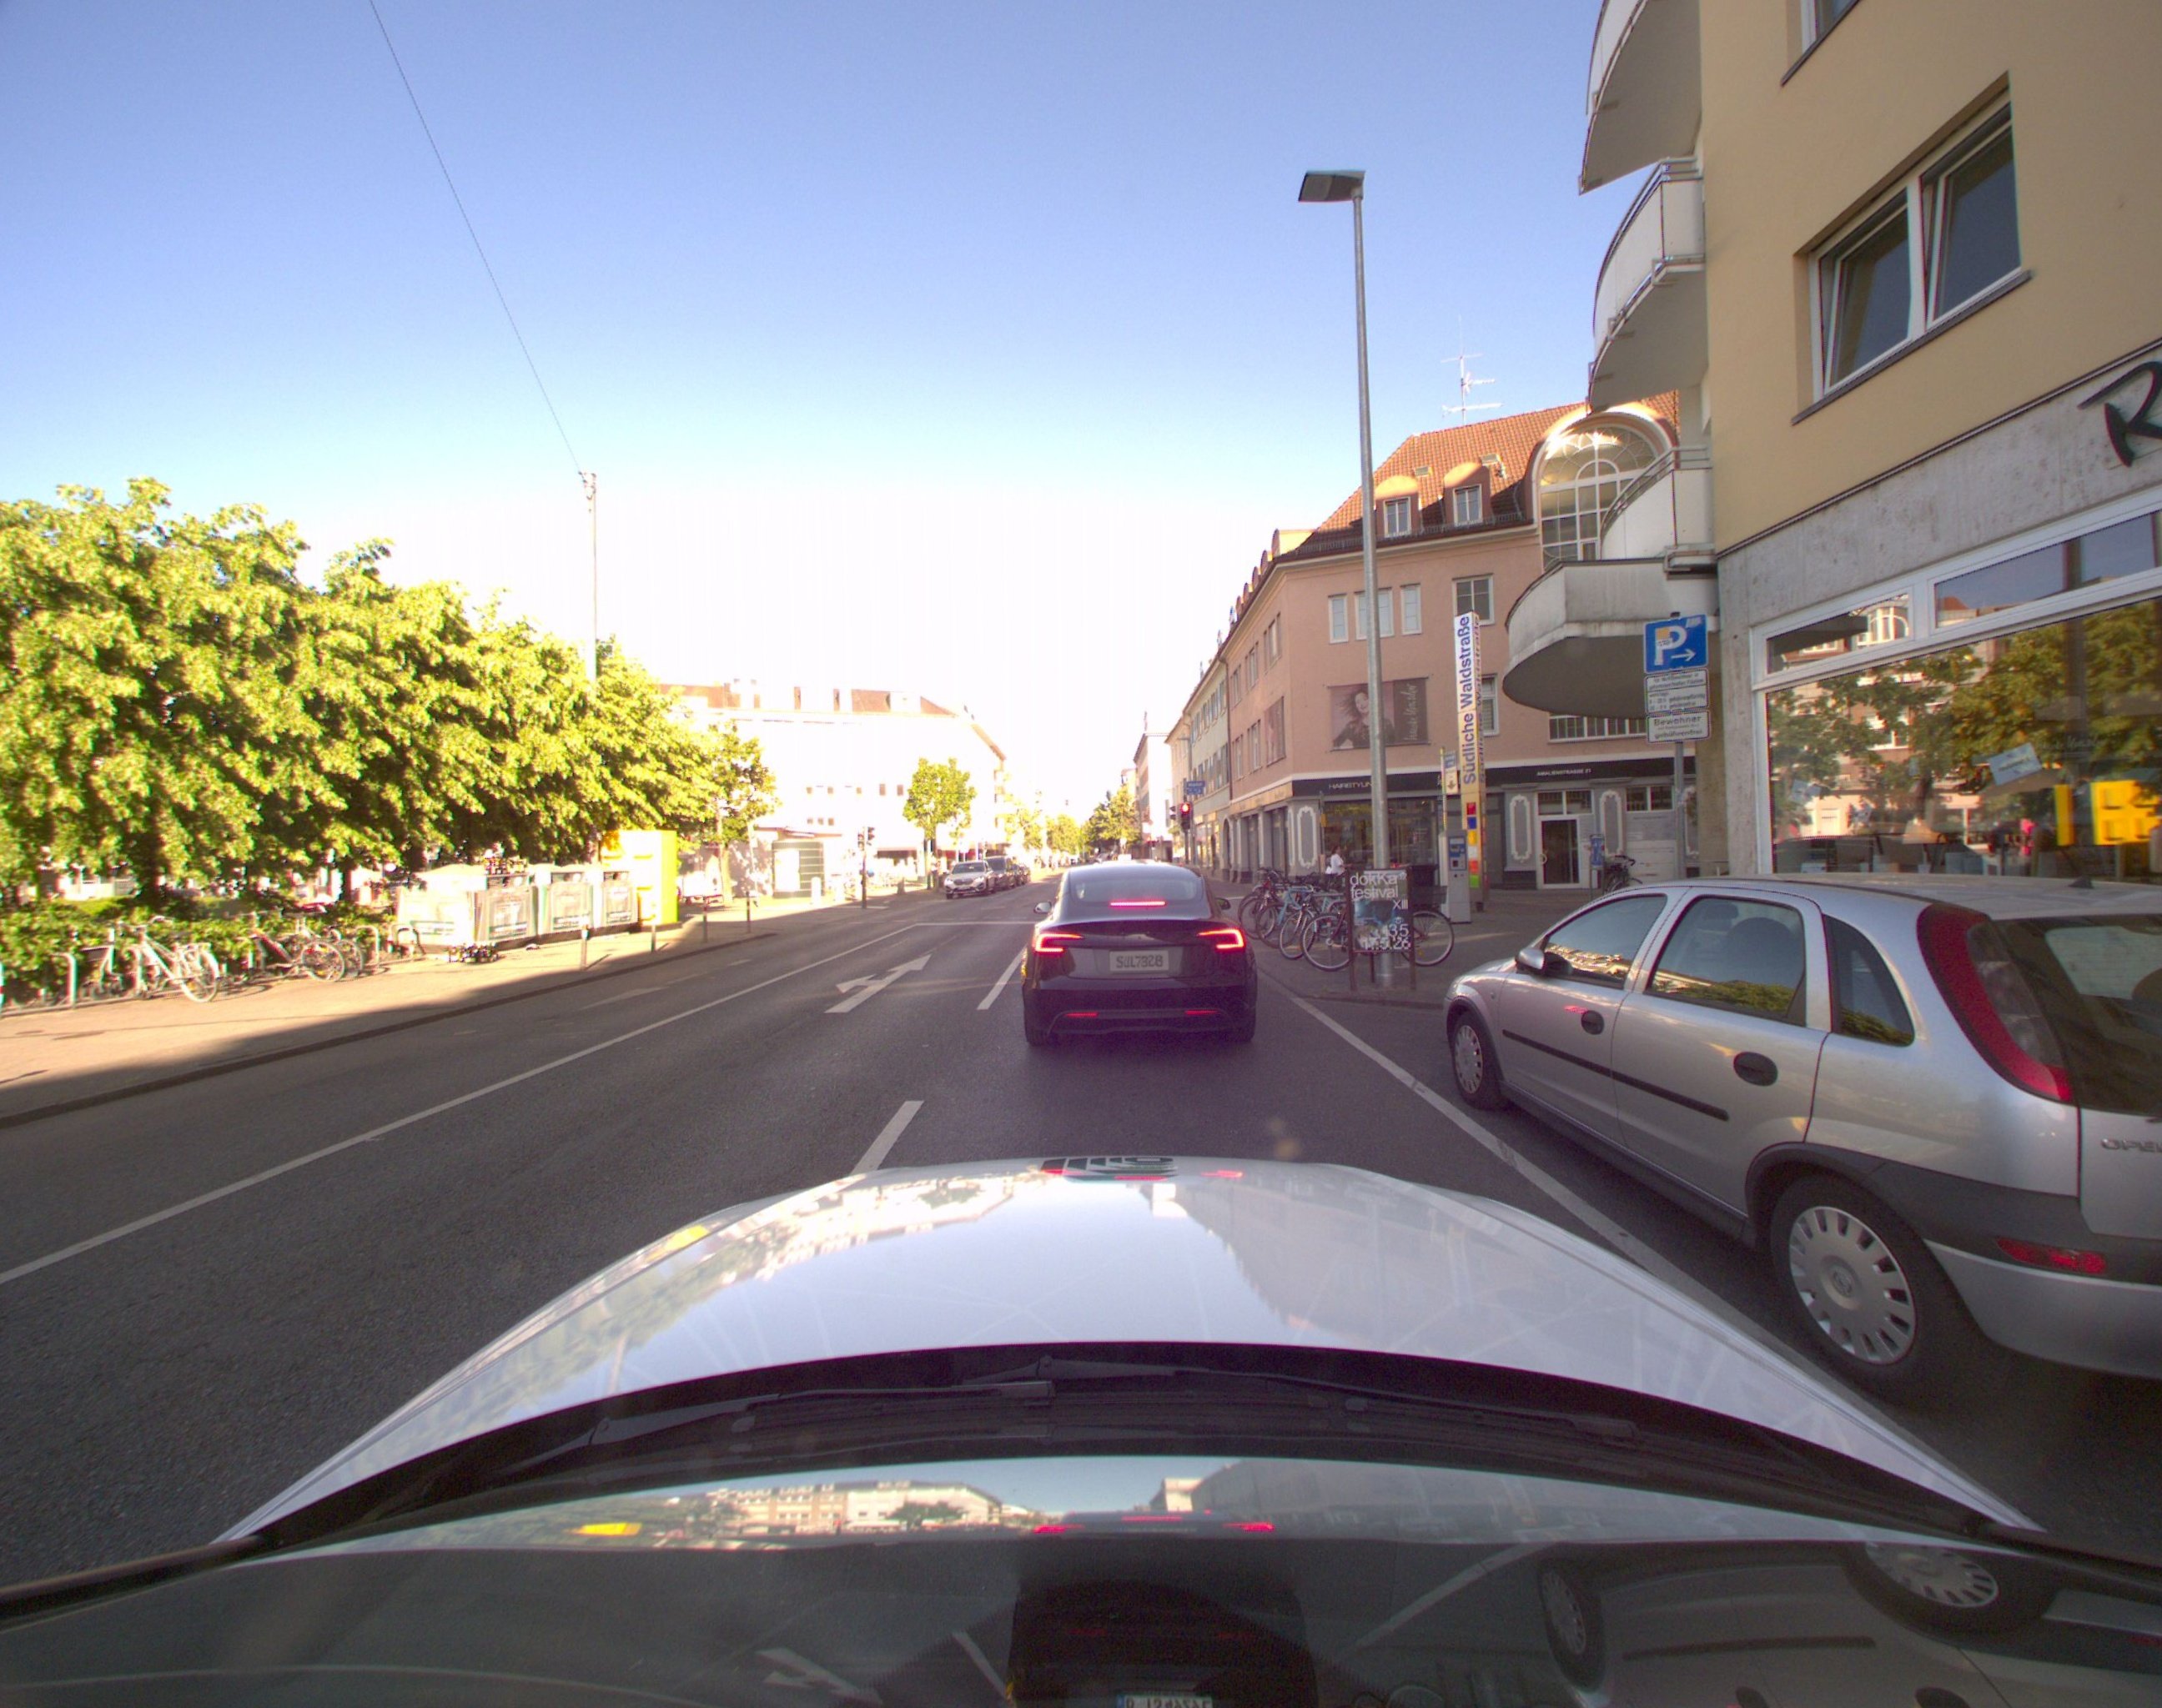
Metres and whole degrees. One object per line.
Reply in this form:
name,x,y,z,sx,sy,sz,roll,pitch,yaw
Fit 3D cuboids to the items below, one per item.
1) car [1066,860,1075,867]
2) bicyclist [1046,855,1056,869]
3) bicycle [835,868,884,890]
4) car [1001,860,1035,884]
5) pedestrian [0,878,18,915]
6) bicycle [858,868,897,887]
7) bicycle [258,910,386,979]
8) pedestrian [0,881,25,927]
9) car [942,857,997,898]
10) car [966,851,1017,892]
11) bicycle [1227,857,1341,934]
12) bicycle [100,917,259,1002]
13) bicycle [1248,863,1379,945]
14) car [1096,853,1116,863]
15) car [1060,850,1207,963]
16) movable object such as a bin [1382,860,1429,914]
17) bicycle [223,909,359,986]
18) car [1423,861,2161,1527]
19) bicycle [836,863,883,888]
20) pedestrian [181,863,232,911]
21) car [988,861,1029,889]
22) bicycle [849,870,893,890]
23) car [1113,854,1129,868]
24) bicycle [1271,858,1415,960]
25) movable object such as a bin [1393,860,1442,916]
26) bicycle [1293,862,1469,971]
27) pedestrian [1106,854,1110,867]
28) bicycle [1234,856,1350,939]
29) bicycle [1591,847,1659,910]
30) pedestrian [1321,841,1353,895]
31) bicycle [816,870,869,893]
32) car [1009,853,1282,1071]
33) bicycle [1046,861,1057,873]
car,-2.476,2.156,187.377,1.988,1.637,3.998,-1,0,-1
bicyclist,-3.496,0.926,95.892,1.123,1.628,0.965,-1,0,-1
bicycle,-12.368,1.367,45.557,2.453,1.156,0.843,-1,0,0
car,-4.385,1.258,57.285,1.988,1.436,4.672,-5,0,-1
pedestrian,-59.735,2.338,44.915,1.272,2.013,0.908,-1,0,13
bicycle,-13.150,1.517,52.761,2.318,1.156,0.841,-1,0,-4
bicycle,-11.362,1.353,12.204,1.517,0.958,0.431,-1,1,3
pedestrian,-48.902,2.276,36.952,0.982,2.014,0.908,-1,-1,16
car,-4.937,0.994,36.669,1.802,1.555,4.308,-5,0,-1
car,-4.631,0.868,42.868,1.827,1.845,4.677,-5,0,2
bicycle,3.629,0.743,14.721,1.851,1.258,0.834,-3,-1,7
bicycle,-11.448,1.332,10.358,1.590,1.018,0.430,-1,0,3
bicycle,3.529,0.757,12.513,1.788,1.124,0.783,-3,-1,7
car,5.130,0.844,167.681,3.974,2.013,2.000,-1,0,0
car,0.747,0.727,13.320,1.987,1.512,4.175,-1,0,0
movable object such as a bin,6.759,0.680,16.988,0.730,1.092,0.628,0,-1,3
bicycle,-11.312,1.336,11.677,1.561,1.023,0.430,-1,0,3
car,2.977,0.735,3.531,1.607,1.382,3.645,0,0,2
bicycle,-12.899,1.246,47.504,2.472,1.324,0.921,-1,0,-4
pedestrian,-37.685,1.428,35.092,1.388,2.014,0.908,-1,0,14
car,-4.355,1.234,49.688,1.988,1.410,4.672,-5,0,-1
bicycle,-12.942,1.573,50.263,2.528,1.156,0.841,-1,0,-4
car,4.928,0.883,100.795,1.986,1.629,4.002,-1,0,2
bicycle,3.549,0.729,11.160,1.713,1.268,0.792,-3,-1,7
movable object such as a bin,6.750,0.675,16.350,0.749,1.092,0.628,0,-1,3
bicycle,3.645,0.755,10.024,1.876,1.193,0.693,-3,0,7
pedestrian,3.980,0.953,120.010,0.639,2.014,0.690,-1,-1,0
bicycle,3.513,0.714,13.693,1.738,1.267,0.782,-3,-1,4
bicycle,11.124,0.475,16.717,0.653,1.199,2.223,-2,0,21
pedestrian,7.634,0.412,24.314,0.743,1.552,0.700,-1,0,4
bicycle,-12.575,1.440,43.028,2.497,1.156,0.843,-1,0,0
car,0.505,0.761,7.612,1.841,1.455,4.001,-1,0,2
bicycle,-3.470,1.541,95.795,1.108,1.344,3.998,-1,0,-1
